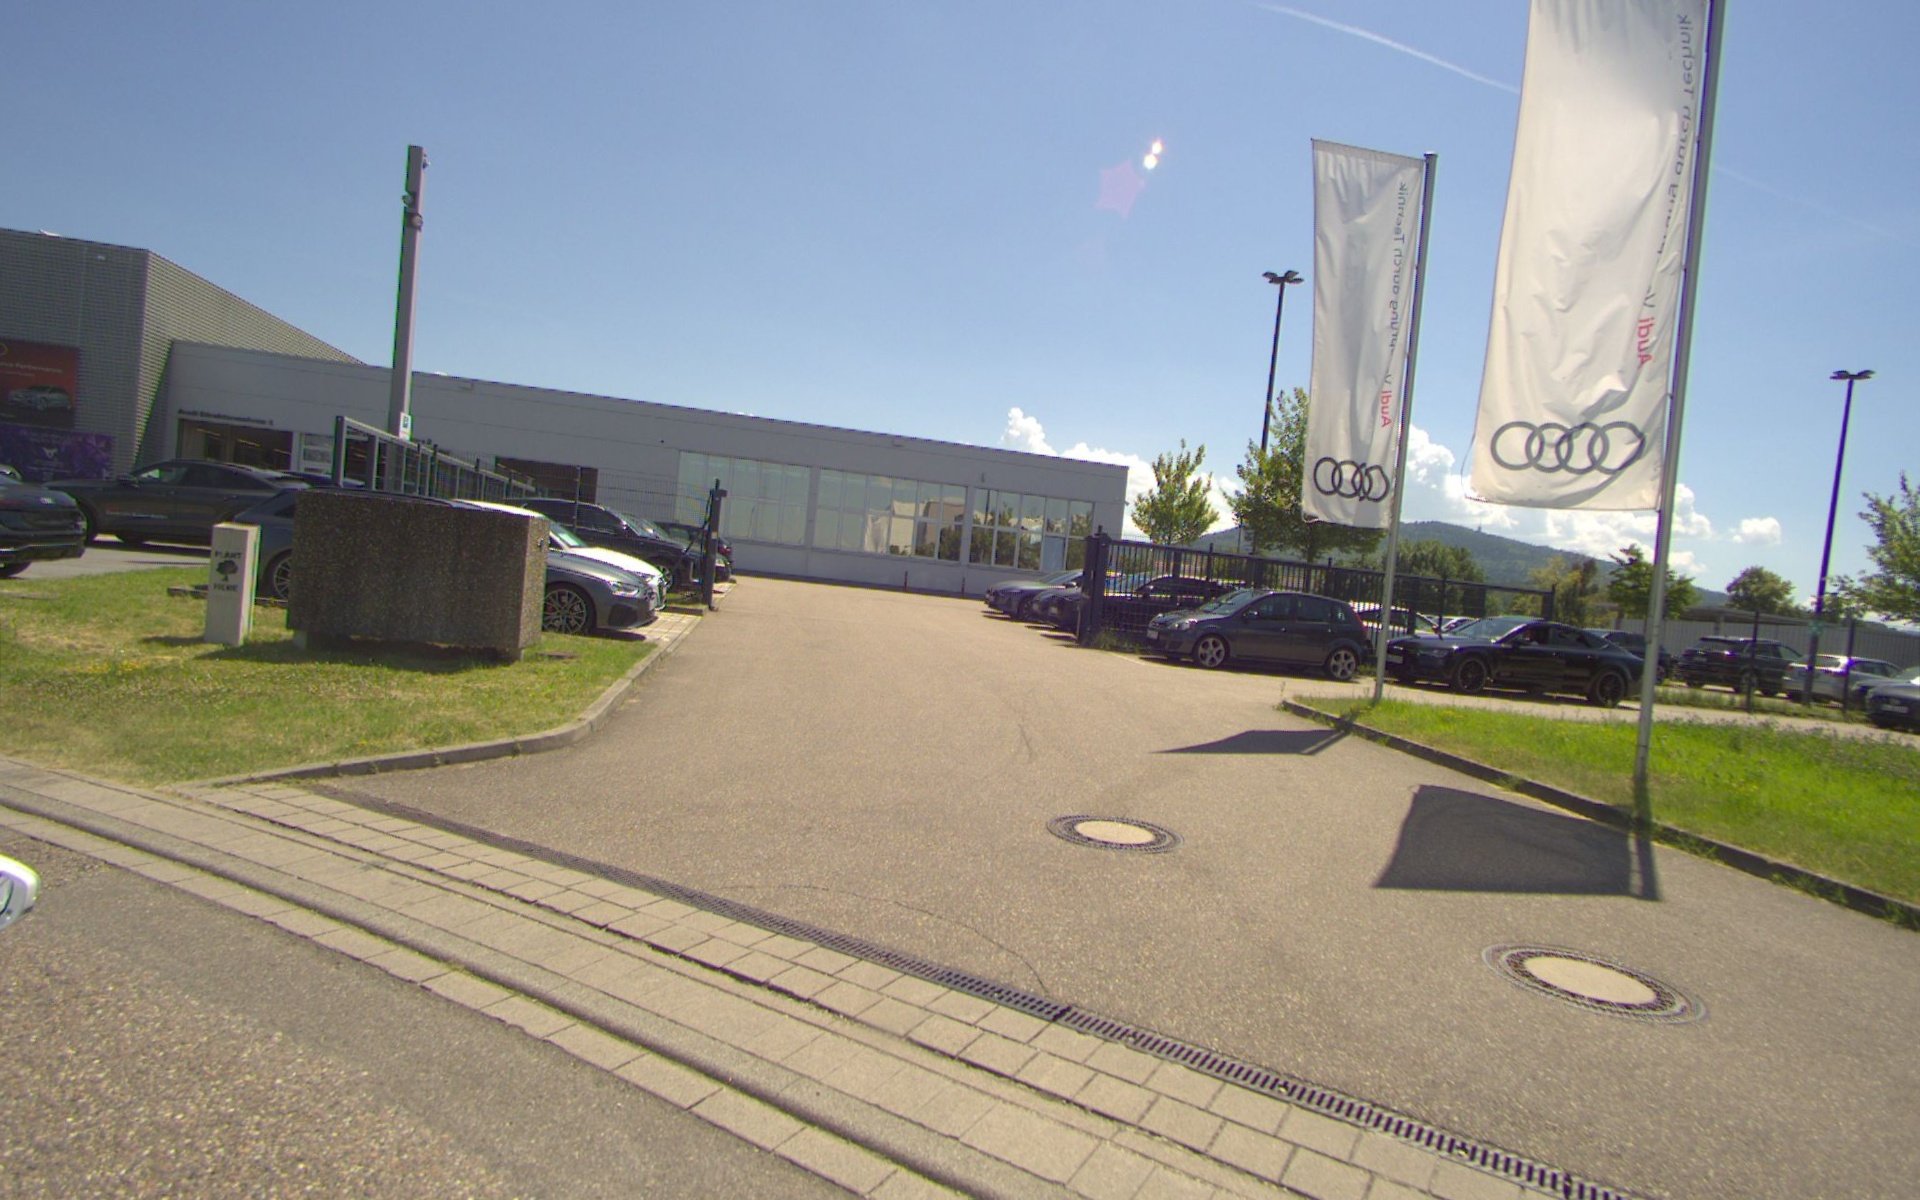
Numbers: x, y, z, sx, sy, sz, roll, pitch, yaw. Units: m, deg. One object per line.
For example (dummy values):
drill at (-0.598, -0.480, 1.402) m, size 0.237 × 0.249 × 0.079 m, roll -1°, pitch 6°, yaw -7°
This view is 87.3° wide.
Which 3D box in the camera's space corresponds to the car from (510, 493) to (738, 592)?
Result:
car at (-7.417, -1.271, 22.670) m, size 4.549 × 1.652 × 1.961 m, roll 6°, pitch 3°, yaw -12°

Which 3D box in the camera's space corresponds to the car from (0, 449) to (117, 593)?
car at (-12.524, -1.113, 10.827) m, size 4.940 × 1.475 × 1.879 m, roll 6°, pitch 4°, yaw -12°

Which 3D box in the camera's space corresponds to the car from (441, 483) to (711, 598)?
car at (-7.304, -1.143, 19.640) m, size 4.549 × 1.652 × 1.961 m, roll 6°, pitch 3°, yaw -12°

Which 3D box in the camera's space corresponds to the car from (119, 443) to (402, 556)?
car at (-14.258, -1.992, 20.771) m, size 4.343 × 1.717 × 1.825 m, roll 5°, pitch 2°, yaw -12°

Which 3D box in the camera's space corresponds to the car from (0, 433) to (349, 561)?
car at (-14.038, -1.778, 18.146) m, size 4.706 × 1.665 × 1.825 m, roll 6°, pitch 2°, yaw -12°

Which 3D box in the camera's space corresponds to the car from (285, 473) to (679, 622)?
car at (-6.793, -0.741, 14.844) m, size 4.862 × 1.549 × 1.819 m, roll 6°, pitch 3°, yaw -12°

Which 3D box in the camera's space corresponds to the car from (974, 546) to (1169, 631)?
car at (2.850, -0.317, 26.173) m, size 4.549 × 1.652 × 1.961 m, roll 6°, pitch 3°, yaw -12°

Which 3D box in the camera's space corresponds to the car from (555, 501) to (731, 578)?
car at (-9.032, -1.723, 29.029) m, size 4.549 × 1.652 × 1.961 m, roll 6°, pitch 3°, yaw -12°

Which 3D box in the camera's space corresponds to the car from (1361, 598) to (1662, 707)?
car at (9.863, 0.930, 18.139) m, size 4.494 × 1.420 × 1.776 m, roll 5°, pitch 3°, yaw -9°

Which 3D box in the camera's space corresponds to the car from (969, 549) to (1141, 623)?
car at (2.736, -0.423, 29.492) m, size 4.549 × 1.652 × 1.961 m, roll 6°, pitch 3°, yaw -12°

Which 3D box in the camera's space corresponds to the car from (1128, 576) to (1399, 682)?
car at (5.220, 0.482, 17.581) m, size 4.073 × 1.368 × 1.776 m, roll 5°, pitch 3°, yaw -9°

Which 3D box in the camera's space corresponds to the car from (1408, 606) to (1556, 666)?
car at (17.597, 1.199, 33.995) m, size 3.935 × 1.577 × 2.105 m, roll 5°, pitch 2°, yaw -14°

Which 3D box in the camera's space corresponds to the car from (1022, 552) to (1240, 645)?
car at (3.987, -0.064, 23.802) m, size 4.549 × 1.652 × 1.961 m, roll 6°, pitch 3°, yaw -12°

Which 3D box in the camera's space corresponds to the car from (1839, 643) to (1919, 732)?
car at (20.663, 1.921, 20.395) m, size 4.329 × 1.588 × 1.776 m, roll 5°, pitch 3°, yaw -9°

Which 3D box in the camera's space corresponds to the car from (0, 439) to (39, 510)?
car at (-26.747, -3.441, 25.465) m, size 4.650 × 1.763 × 1.961 m, roll 5°, pitch 3°, yaw -12°

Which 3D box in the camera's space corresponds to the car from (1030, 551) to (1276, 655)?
car at (3.986, 0.040, 21.147) m, size 4.549 × 1.652 × 1.961 m, roll 6°, pitch 3°, yaw -12°

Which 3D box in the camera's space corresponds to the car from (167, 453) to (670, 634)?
car at (-6.137, -0.633, 12.062) m, size 4.862 × 1.488 × 1.961 m, roll 6°, pitch 3°, yaw -12°

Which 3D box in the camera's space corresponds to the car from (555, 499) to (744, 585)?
car at (-7.774, -1.472, 25.617) m, size 4.305 × 1.652 × 1.961 m, roll 5°, pitch 3°, yaw -12°
